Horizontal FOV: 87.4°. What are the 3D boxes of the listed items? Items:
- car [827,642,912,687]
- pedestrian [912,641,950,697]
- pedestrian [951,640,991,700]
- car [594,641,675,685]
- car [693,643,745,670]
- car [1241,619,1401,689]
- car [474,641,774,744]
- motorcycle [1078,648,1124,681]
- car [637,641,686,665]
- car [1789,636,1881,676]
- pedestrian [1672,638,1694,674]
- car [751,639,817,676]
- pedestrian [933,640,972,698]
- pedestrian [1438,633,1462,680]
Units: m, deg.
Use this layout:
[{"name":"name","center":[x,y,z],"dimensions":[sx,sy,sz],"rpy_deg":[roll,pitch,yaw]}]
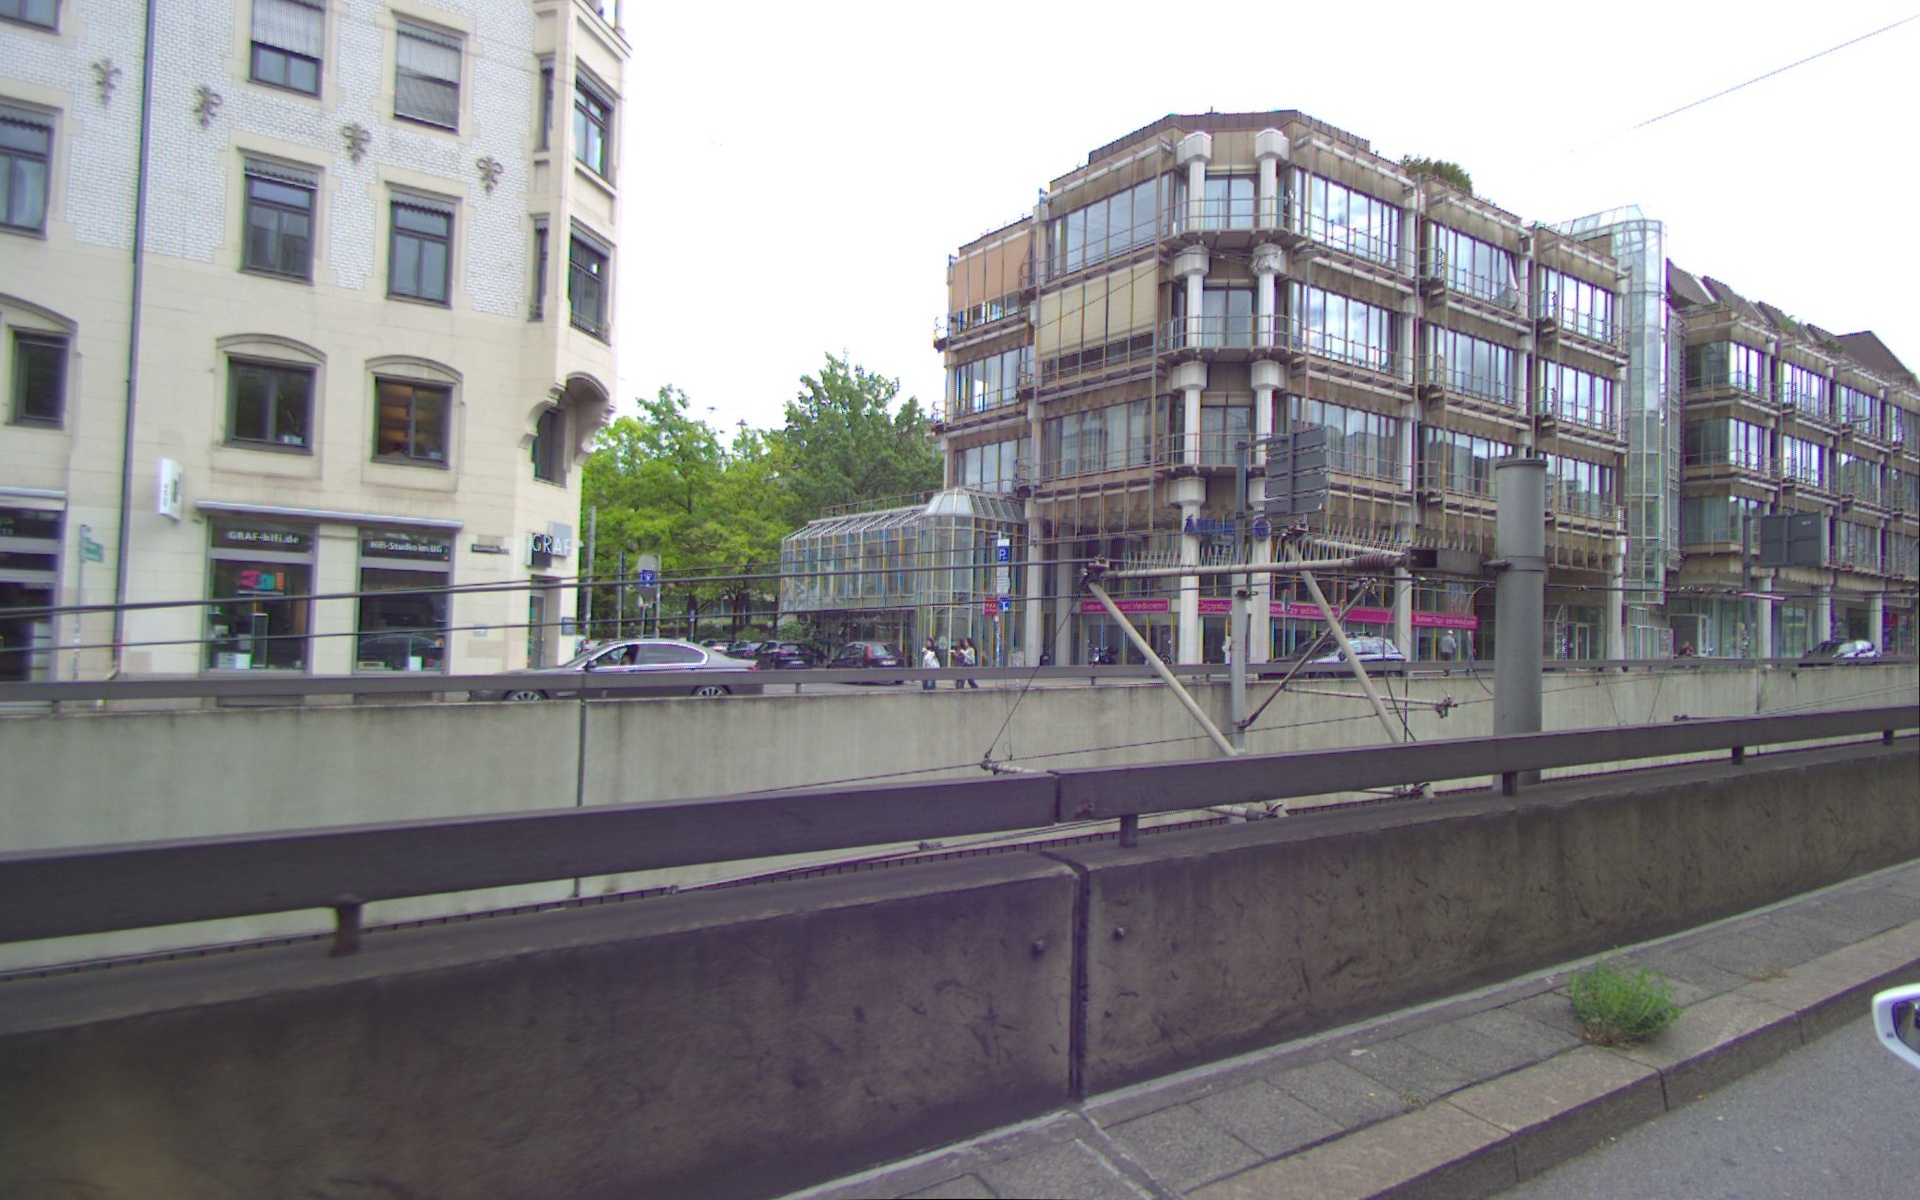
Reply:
[{"name":"car","center":[-3.202,2.215,34.996],"dimensions":[1.631,1.455,3.429],"rpy_deg":[1,-2,-31]},{"name":"pedestrian","center":[-0.811,1.928,28.348],"dimensions":[0.839,1.564,0.695],"rpy_deg":[2,-2,-38]},{"name":"pedestrian","center":[0.293,1.877,27.158],"dimensions":[0.839,1.564,0.695],"rpy_deg":[2,-2,-38]},{"name":"car","center":[-11.652,2.212,35.823],"dimensions":[1.831,1.455,3.853],"rpy_deg":[1,-2,-32]},{"name":"car","center":[-12.106,2.822,50.366],"dimensions":[1.631,1.261,3.429],"rpy_deg":[1,-2,-31]},{"name":"car","center":[10.026,1.472,27.861],"dimensions":[4.231,1.791,1.984],"rpy_deg":[1,-2,-31]},{"name":"car","center":[-5.946,1.549,17.923],"dimensions":[4.827,1.606,1.986],"rpy_deg":[1,-2,-28]},{"name":"motorcycle","center":[5.603,2.542,39.756],"dimensions":[1.925,1.273,0.784],"rpy_deg":[2,-2,-43]},{"name":"car","center":[-17.668,3.087,59.356],"dimensions":[1.902,1.360,3.987],"rpy_deg":[1,-2,-31]},{"name":"car","center":[40.375,2.551,46.341],"dimensions":[4.231,1.791,1.984],"rpy_deg":[1,-2,-31]},{"name":"pedestrian","center":[38.159,2.946,53.032],"dimensions":[0.708,1.848,0.767],"rpy_deg":[2,-2,-40]},{"name":"car","center":[-7.419,2.379,42.169],"dimensions":[1.631,1.455,3.429],"rpy_deg":[1,-2,-31]},{"name":"pedestrian","center":[-0.215,1.903,27.782],"dimensions":[0.839,1.564,0.695],"rpy_deg":[2,-2,-38]},{"name":"pedestrian","center":[19.155,2.217,39.283],"dimensions":[0.686,1.816,0.530],"rpy_deg":[1,-2,-30]}]
